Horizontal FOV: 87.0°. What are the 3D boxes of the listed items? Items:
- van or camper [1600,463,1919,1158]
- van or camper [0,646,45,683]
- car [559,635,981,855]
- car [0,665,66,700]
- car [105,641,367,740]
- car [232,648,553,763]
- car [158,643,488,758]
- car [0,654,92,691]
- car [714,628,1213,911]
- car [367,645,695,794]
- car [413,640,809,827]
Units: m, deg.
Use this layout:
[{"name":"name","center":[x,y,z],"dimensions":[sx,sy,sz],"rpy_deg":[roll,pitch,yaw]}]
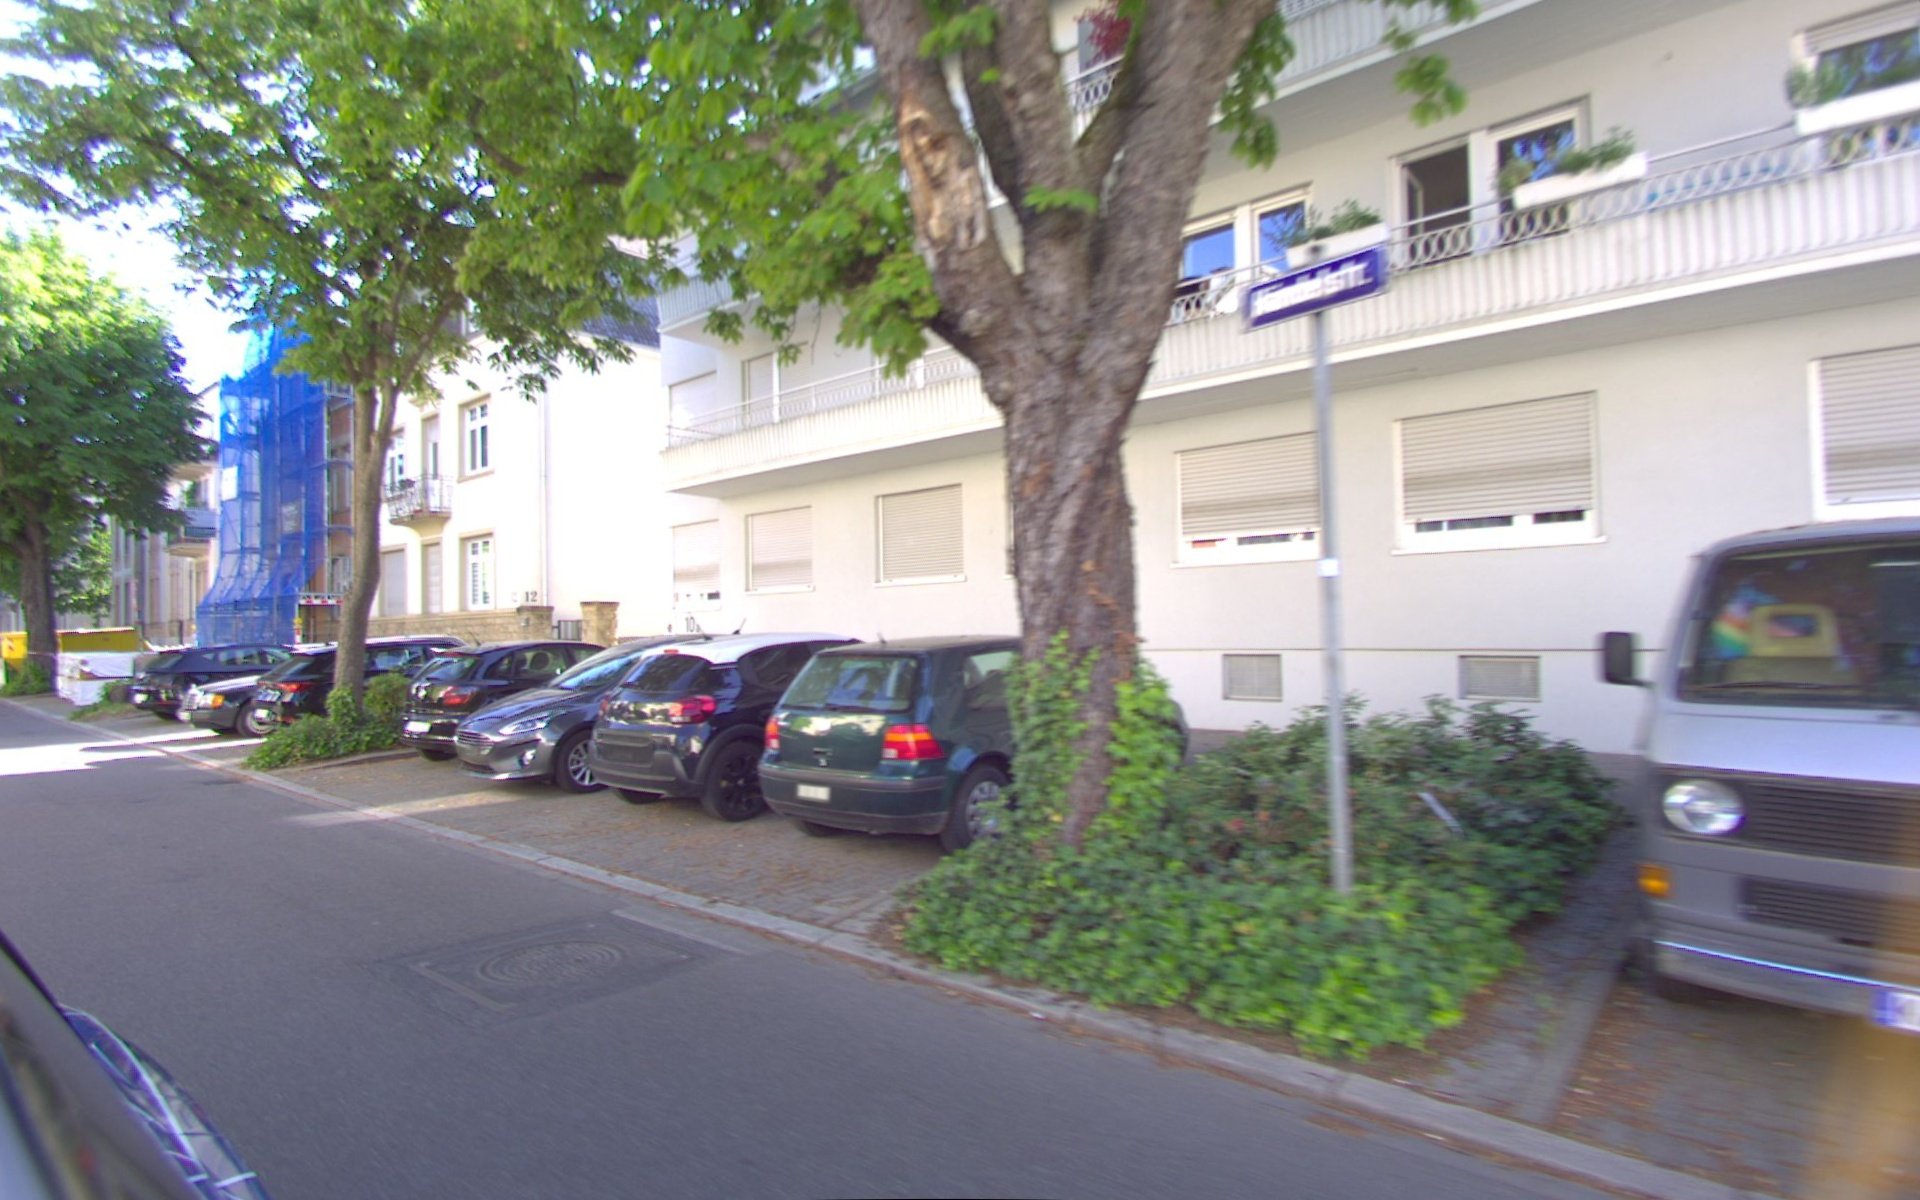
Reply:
[{"name":"van or camper","center":[4.314,0.588,4.331],"dimensions":[1.963,1.929,4.450],"rpy_deg":[-3,-2,41]},{"name":"van or camper","center":[-48.964,3.313,51.098],"dimensions":[1.808,1.787,3.903],"rpy_deg":[-5,-3,40]},{"name":"car","center":[-1.625,1.149,9.394],"dimensions":[1.797,1.469,3.441],"rpy_deg":[-3,-1,42]},{"name":"car","center":[-42.576,3.710,44.979],"dimensions":[1.709,1.411,4.097],"rpy_deg":[-4,-2,41]},{"name":"car","center":[-14.366,1.719,20.283],"dimensions":[1.827,1.525,3.841],"rpy_deg":[-3,0,32]},{"name":"car","center":[-8.869,1.565,16.102],"dimensions":[1.711,1.452,4.145],"rpy_deg":[-3,-2,40]},{"name":"car","center":[-10.911,1.630,17.647],"dimensions":[1.831,1.619,4.544],"rpy_deg":[-3,-2,39]},{"name":"car","center":[-38.655,3.009,42.077],"dimensions":[1.714,1.476,3.686],"rpy_deg":[-5,-5,42]},{"name":"car","center":[0.263,1.033,7.720],"dimensions":[1.713,1.425,3.884],"rpy_deg":[-4,-2,39]},{"name":"car","center":[-5.302,1.377,12.847],"dimensions":[1.707,1.431,3.447],"rpy_deg":[-2,0,36]},{"name":"car","center":[-3.600,1.259,10.851],"dimensions":[1.710,1.474,3.604],"rpy_deg":[-3,-1,43]}]
